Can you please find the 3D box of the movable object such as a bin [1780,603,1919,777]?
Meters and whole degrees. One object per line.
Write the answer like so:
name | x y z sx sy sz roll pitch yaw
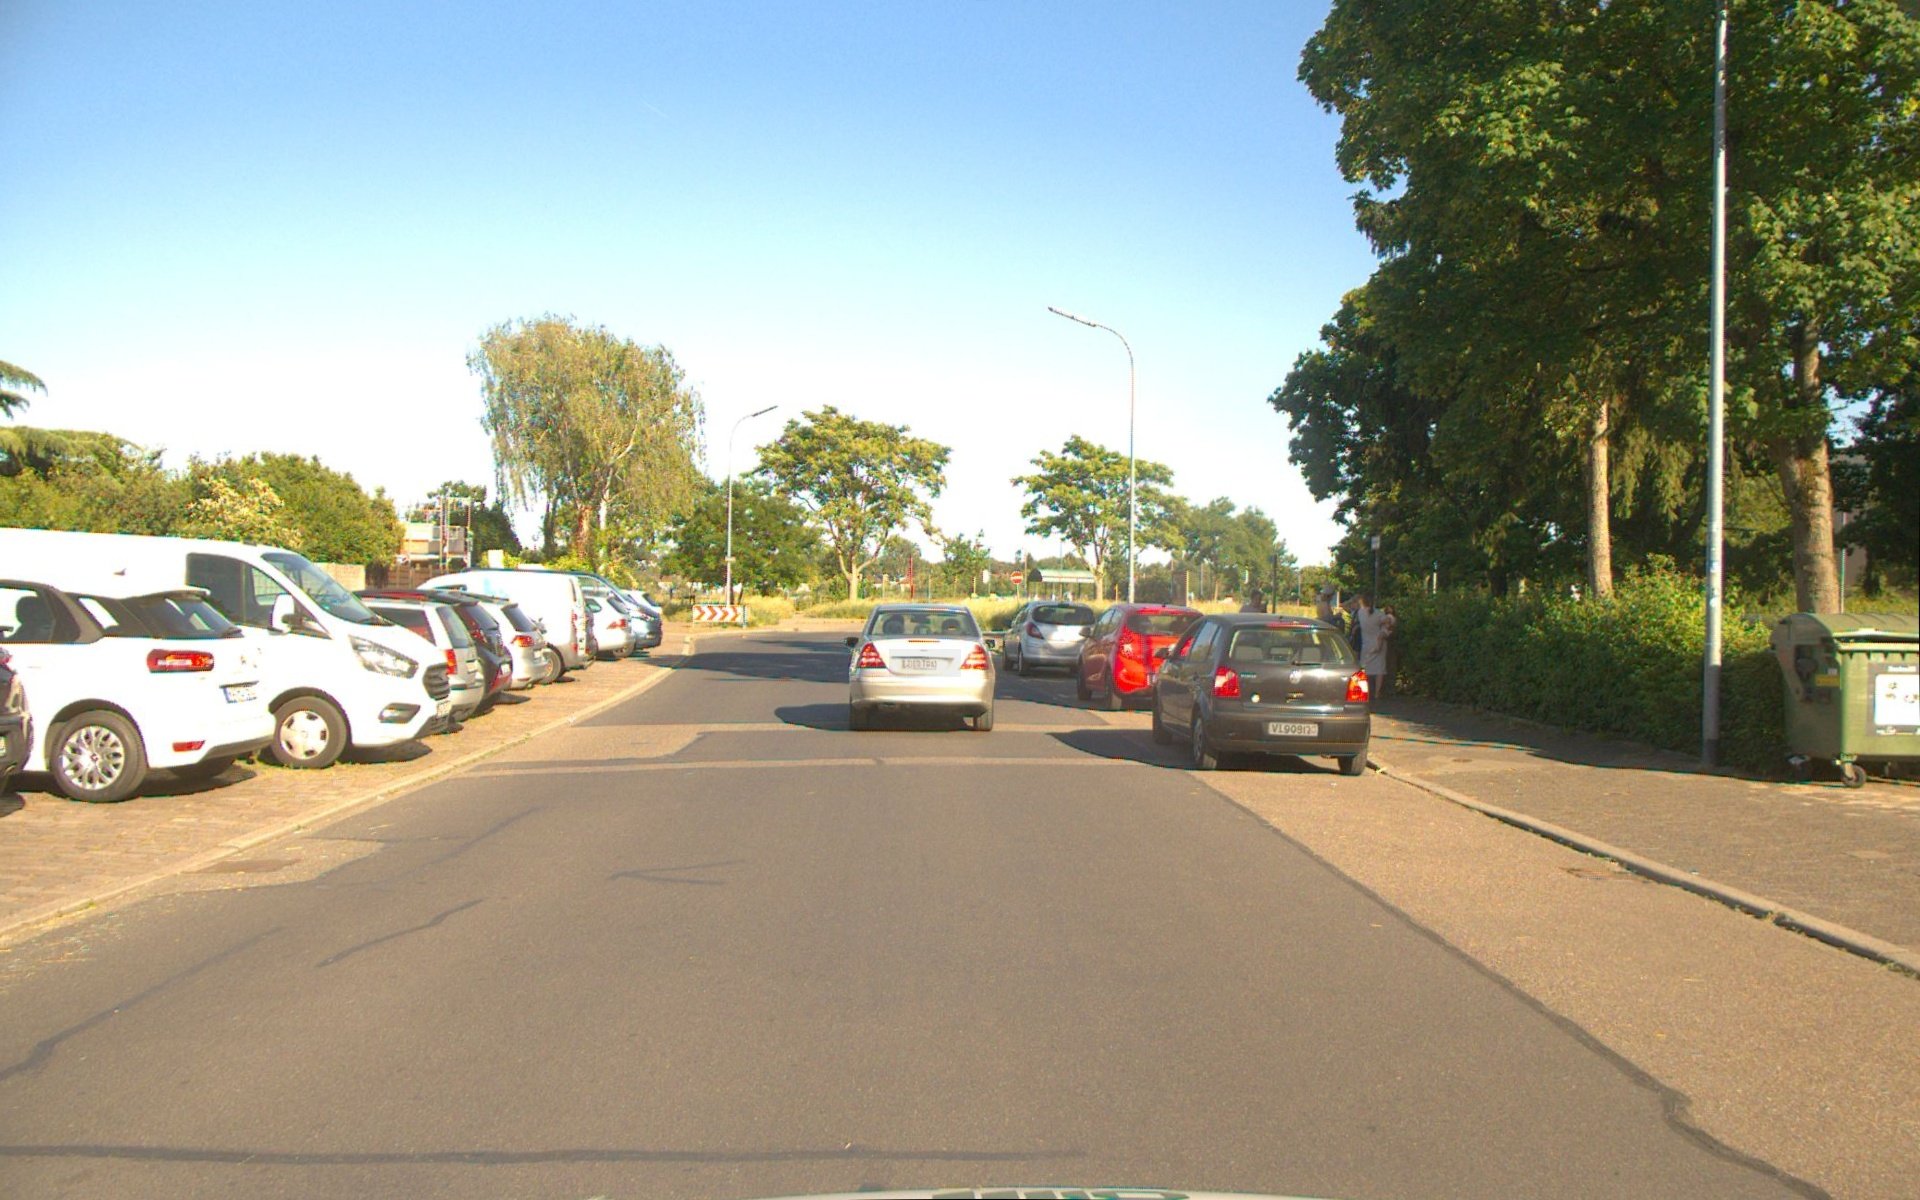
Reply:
movable object such as a bin | 7.861 0.755 14.159 1.212 1.428 0.914 1 -1 -2

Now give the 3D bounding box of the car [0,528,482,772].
car | -7.130 0.424 15.409 4.694 1.954 2.080 3 -1 -3

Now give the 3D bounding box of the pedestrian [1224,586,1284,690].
pedestrian | 4.680 0.601 26.379 0.772 1.592 0.569 3 -1 -4

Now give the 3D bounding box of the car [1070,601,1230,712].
car | 2.701 0.774 24.282 1.545 1.471 3.784 1 0 -6

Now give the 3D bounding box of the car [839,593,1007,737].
car | -0.444 0.702 20.172 1.779 1.489 4.360 2 1 -1

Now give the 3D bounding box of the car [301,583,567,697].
car | -7.955 0.598 25.240 3.443 1.515 1.727 3 -1 -2

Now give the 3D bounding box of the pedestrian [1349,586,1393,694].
pedestrian | 6.153 0.593 24.791 0.476 1.592 0.468 -1 -1 -8

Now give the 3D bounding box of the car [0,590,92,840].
car | -7.676 0.623 10.082 3.691 1.513 1.883 3 -1 0

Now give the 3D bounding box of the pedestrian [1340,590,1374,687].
pedestrian | 6.329 0.614 26.362 0.354 1.529 0.500 -1 -1 -7

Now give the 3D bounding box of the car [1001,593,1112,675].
car | 1.930 0.674 34.148 1.698 1.570 3.784 1 0 -6

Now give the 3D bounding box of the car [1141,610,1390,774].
car | 2.960 0.840 16.794 1.614 1.427 3.880 2 0 -3

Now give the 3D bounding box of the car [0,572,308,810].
car | -7.350 0.596 12.637 3.906 1.610 1.883 3 -1 0

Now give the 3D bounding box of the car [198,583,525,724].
car | -7.285 0.637 20.403 3.446 1.515 1.635 2 1 -6

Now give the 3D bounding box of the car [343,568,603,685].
car | -8.148 0.435 27.979 3.902 1.811 1.922 2 0 -7

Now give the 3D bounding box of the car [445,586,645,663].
car | -9.251 0.544 37.154 4.057 1.518 1.923 2 -1 -6

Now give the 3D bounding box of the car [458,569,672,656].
car | -9.410 0.312 39.747 4.781 1.949 1.996 1 0 -9

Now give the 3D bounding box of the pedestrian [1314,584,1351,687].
pedestrian | 5.835 0.558 25.912 0.471 1.592 0.597 -1 -1 6

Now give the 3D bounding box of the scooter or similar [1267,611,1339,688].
scooter or similar | 5.685 0.808 27.437 0.395 1.249 1.239 0 -1 -34

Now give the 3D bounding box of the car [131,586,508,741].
car | -6.936 0.674 18.170 3.443 1.471 1.636 3 -1 -2

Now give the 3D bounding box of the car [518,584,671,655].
car | -9.346 0.496 42.470 3.541 1.635 1.731 3 -1 -4

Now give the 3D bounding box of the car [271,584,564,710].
car | -7.431 0.633 22.883 3.443 1.515 1.636 3 -1 -2

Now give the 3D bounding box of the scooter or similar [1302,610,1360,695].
scooter or similar | 5.564 0.775 24.834 0.610 1.249 0.904 0 -1 -4

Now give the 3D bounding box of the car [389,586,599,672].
car | -9.068 0.561 32.467 3.744 1.559 1.785 1 0 -10
